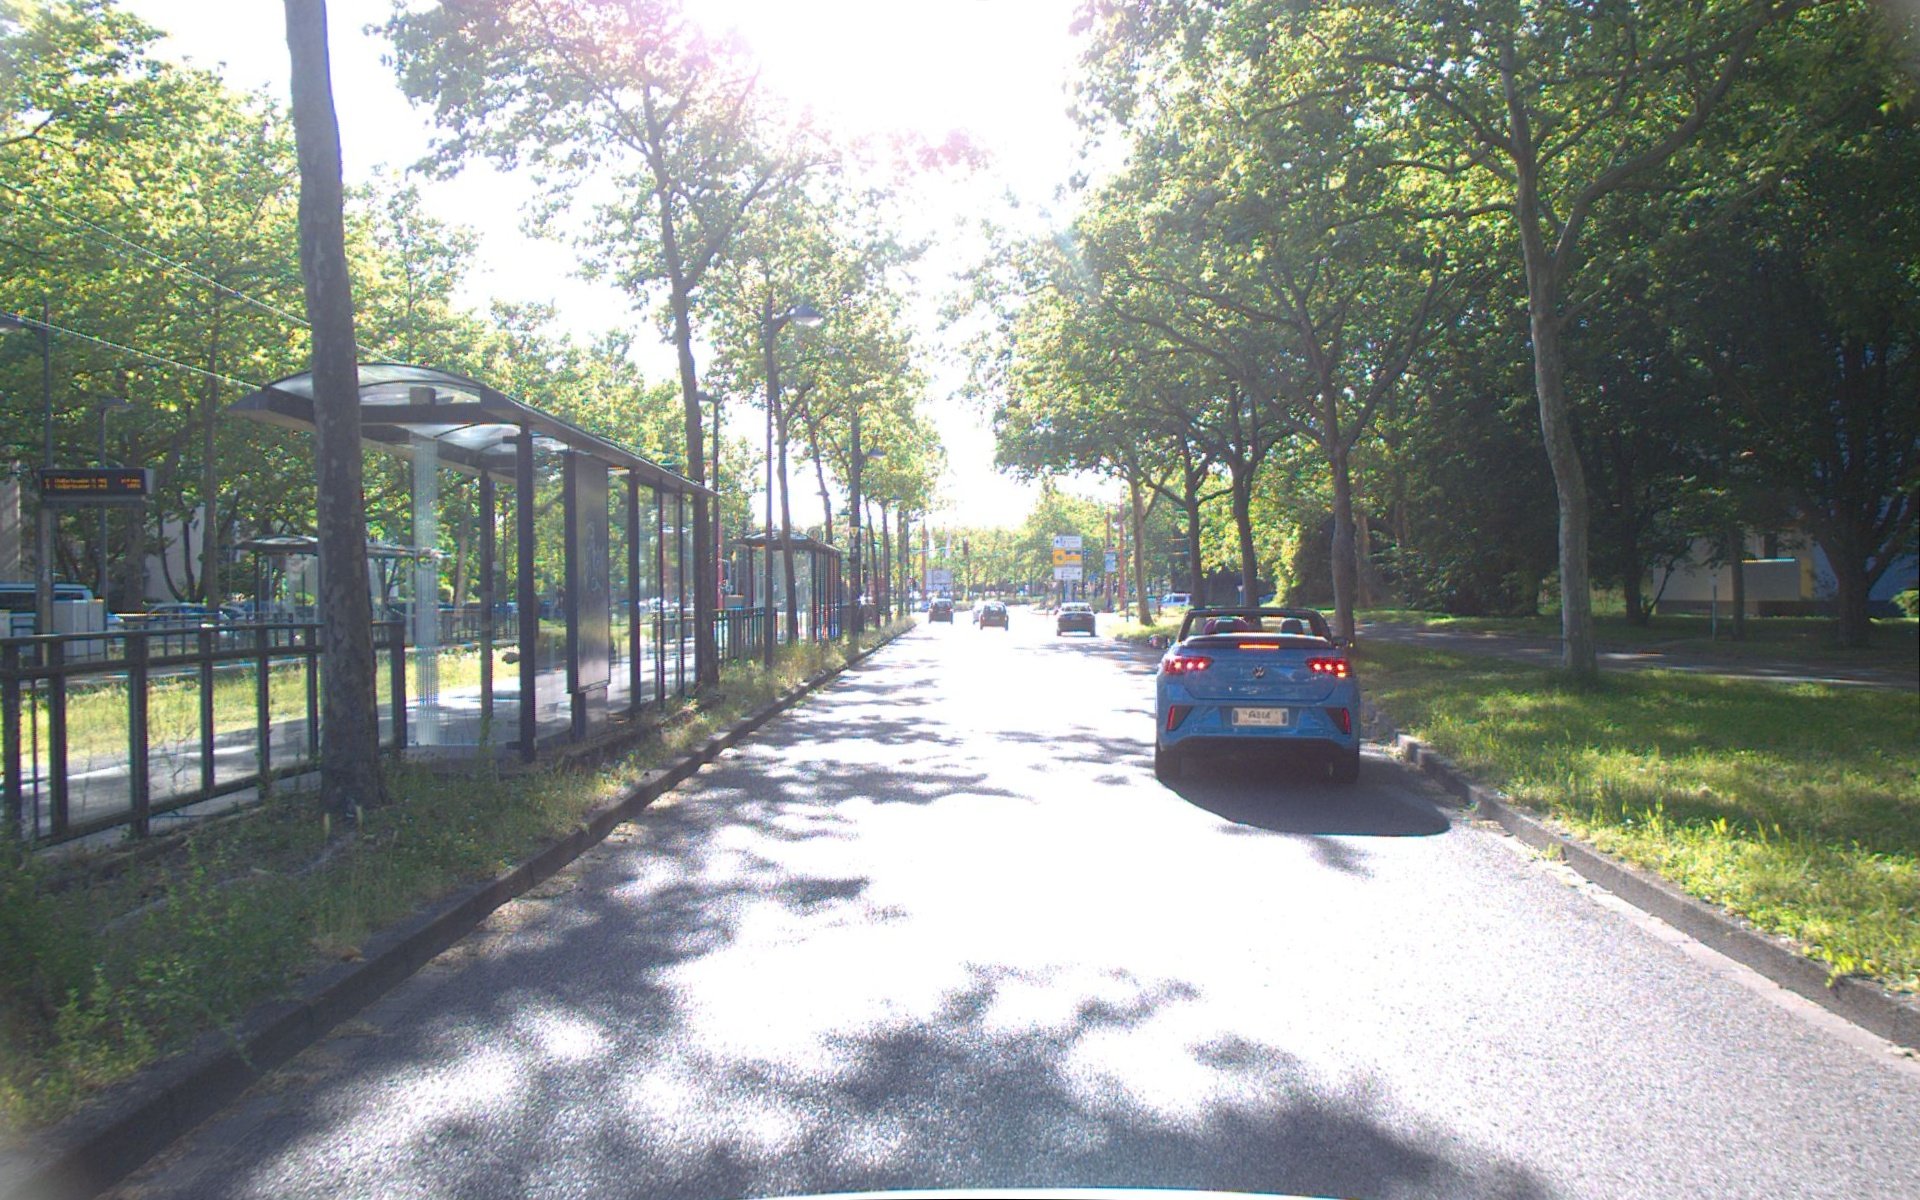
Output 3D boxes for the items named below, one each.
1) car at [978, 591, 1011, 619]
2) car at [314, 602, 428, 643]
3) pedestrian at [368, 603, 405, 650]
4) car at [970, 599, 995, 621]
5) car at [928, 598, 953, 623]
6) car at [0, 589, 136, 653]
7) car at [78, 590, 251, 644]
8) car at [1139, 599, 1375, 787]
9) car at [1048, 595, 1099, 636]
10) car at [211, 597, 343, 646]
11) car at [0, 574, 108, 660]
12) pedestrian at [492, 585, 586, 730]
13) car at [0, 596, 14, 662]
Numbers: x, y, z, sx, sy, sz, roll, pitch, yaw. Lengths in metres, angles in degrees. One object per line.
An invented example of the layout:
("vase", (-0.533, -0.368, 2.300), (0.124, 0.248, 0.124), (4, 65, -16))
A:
("car", (1.895, 0.260, 91.588), (1.606, 1.520, 3.502), (1, 1, -2))
("car", (-23.985, 0.885, 67.422), (1.616, 1.571, 4.153), (1, 1, 40))
("pedestrian", (-14.846, 0.685, 42.831), (0.680, 1.147, 0.662), (-4, 0, 0))
("car", (1.530, 0.672, 112.122), (1.644, 1.501, 4.130), (0, 0, 0))
("car", (-1.323, 0.686, 111.298), (1.676, 1.631, 3.349), (0, 0, -2))
("car", (-24.576, 0.544, 44.514), (1.662, 1.638, 4.030), (1, 1, 45))
("car", (-24.546, 0.492, 51.148), (1.865, 1.530, 4.476), (1, 1, 40))
("car", (2.638, 0.754, 15.526), (1.738, 1.509, 4.102), (1, 0, 4))
("car", (5.197, 0.699, 76.078), (1.941, 1.823, 4.613), (1, 0, -1))
("car", (-23.964, 0.722, 58.139), (1.547, 1.596, 4.038), (3, 2, 40))
("car", (-24.191, 0.417, 41.782), (4.457, 2.099, 1.873), (0, 1, -40))
("pedestrian", (-3.766, 0.507, 14.839), (0.719, 1.274, 0.587), (1, 0, -7))
("car", (-24.603, 0.672, 38.219), (4.463, 1.524, 1.870), (0, 1, -43))
